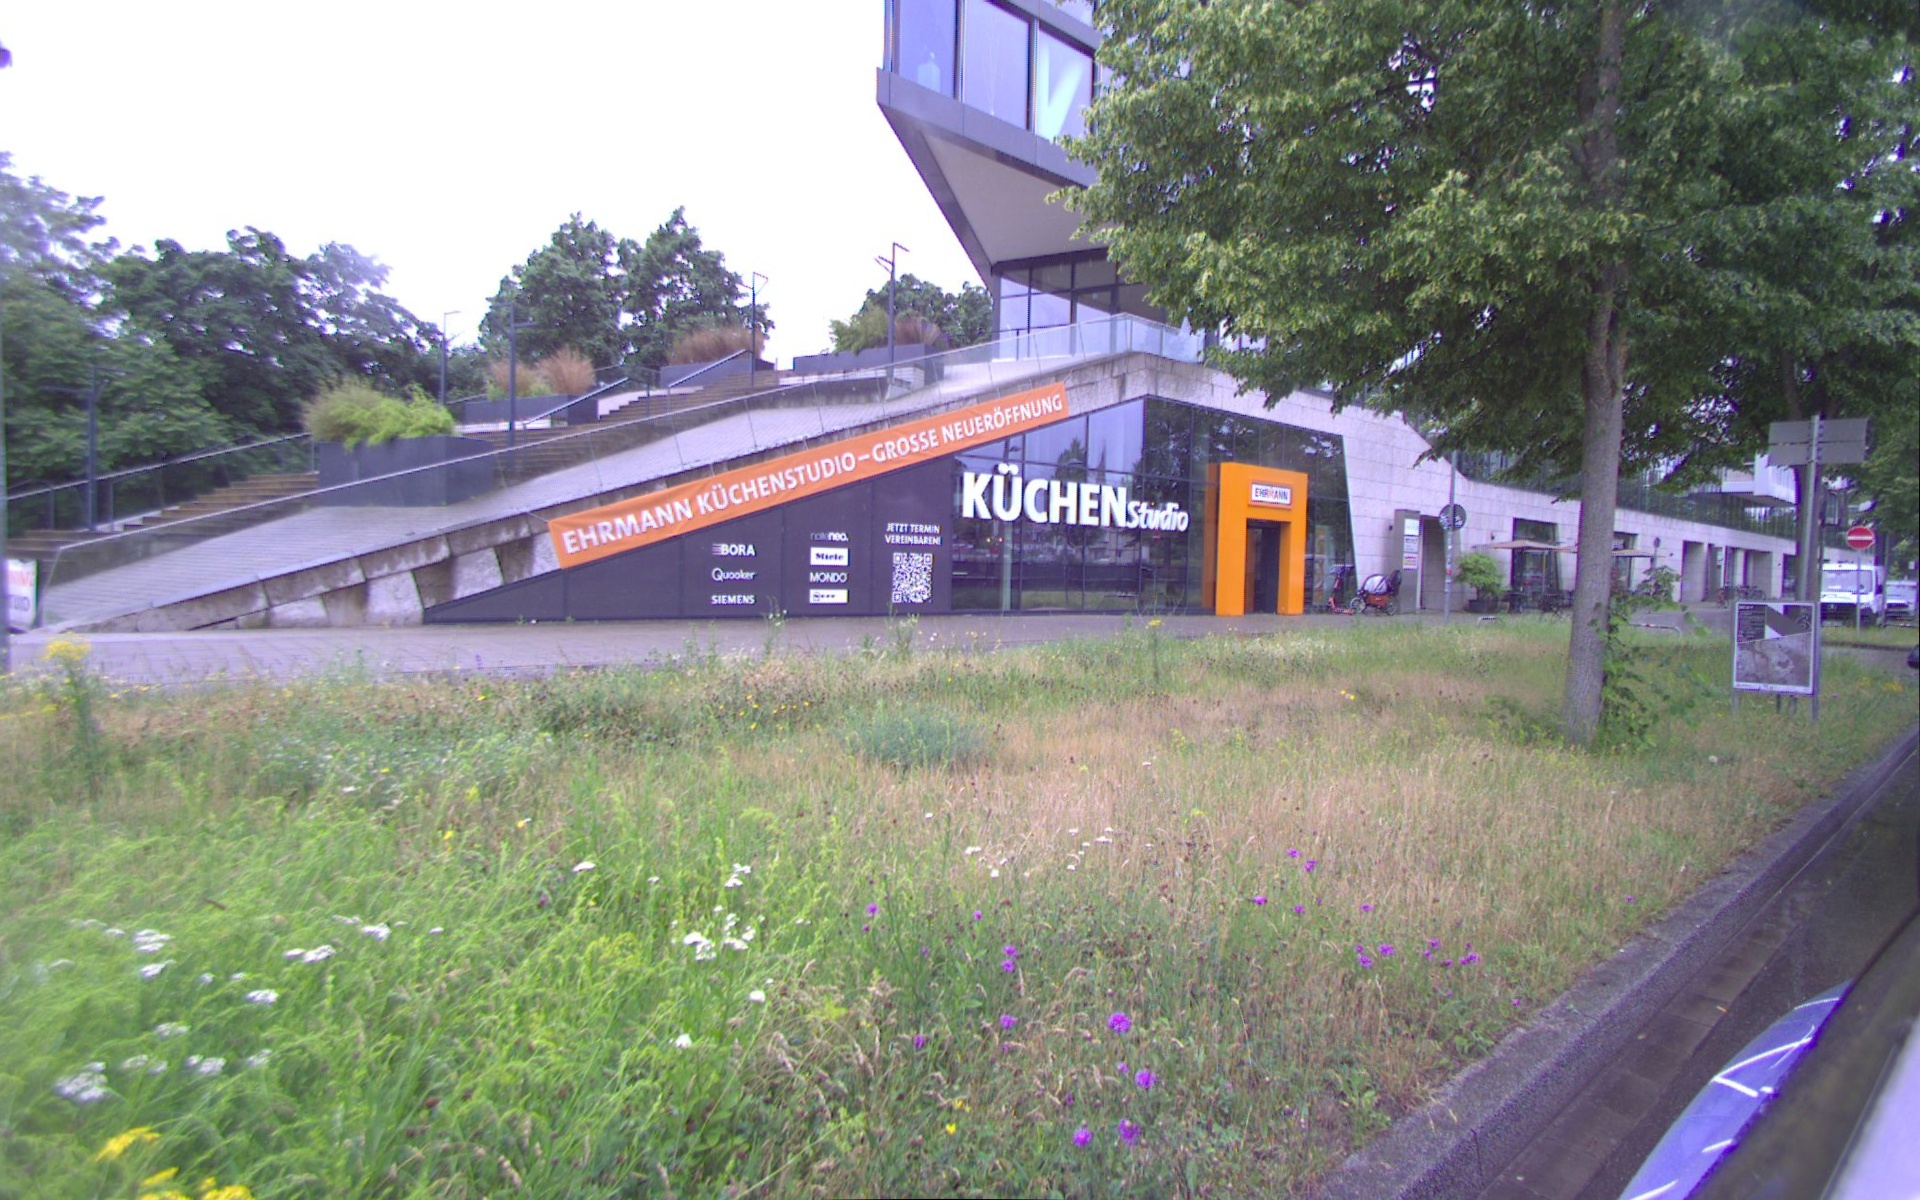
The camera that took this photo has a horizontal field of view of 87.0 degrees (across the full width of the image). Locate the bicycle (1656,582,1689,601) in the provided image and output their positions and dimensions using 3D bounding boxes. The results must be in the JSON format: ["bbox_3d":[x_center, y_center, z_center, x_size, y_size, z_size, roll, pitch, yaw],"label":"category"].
[{"bbox_3d":[37.236,-0.465,52.884,0.388,0.958,2.028,-1,1,4],"label":"bicycle"}]

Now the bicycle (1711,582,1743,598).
[{"bbox_3d":[49.449,-0.675,65.236,0.339,0.957,1.665,0,3,-22],"label":"bicycle"}]

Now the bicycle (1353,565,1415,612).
[{"bbox_3d":[13.285,-0.359,31.672,2.382,1.419,0.734,0,3,-41],"label":"bicycle"}]

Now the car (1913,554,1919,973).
[{"bbox_3d":[5.796,0.601,4.539,3.930,1.632,1.814,-1,1,-41],"label":"car"}]

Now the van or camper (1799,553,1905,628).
[{"bbox_3d":[29.627,-0.367,33.557,5.367,2.320,2.028,-1,2,-42],"label":"van or camper"}]

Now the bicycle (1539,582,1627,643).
[{"bbox_3d":[14.580,0.274,23.738,0.521,1.363,1.852,2,1,-16],"label":"bicycle"}]

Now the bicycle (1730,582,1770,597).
[{"bbox_3d":[52.592,-0.705,67.416,0.389,0.957,2.025,-1,4,-45],"label":"bicycle"}]

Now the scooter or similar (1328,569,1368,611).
[{"bbox_3d":[11.755,-0.308,30.655,1.214,1.243,0.343,-1,0,-22],"label":"scooter or similar"}]

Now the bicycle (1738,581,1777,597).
[{"bbox_3d":[54.778,-0.751,69.549,0.389,0.957,2.025,-1,4,-45],"label":"bicycle"}]

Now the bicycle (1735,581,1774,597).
[{"bbox_3d":[53.907,-0.740,68.682,0.389,0.957,2.025,-1,4,-45],"label":"bicycle"}]

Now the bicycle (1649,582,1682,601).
[{"bbox_3d":[36.615,-0.452,52.551,0.388,0.958,2.028,-1,1,4],"label":"bicycle"}]

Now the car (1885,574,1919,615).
[{"bbox_3d":[43.439,-0.281,45.870,4.766,1.781,1.744,-1,2,-42],"label":"car"}]

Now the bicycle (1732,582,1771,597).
[{"bbox_3d":[53.068,-0.712,67.870,0.389,0.957,2.025,-1,4,-45],"label":"bicycle"}]

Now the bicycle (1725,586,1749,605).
[{"bbox_3d":[40.545,-0.257,52.786,1.823,0.957,0.403,-1,2,-34],"label":"bicycle"}]
